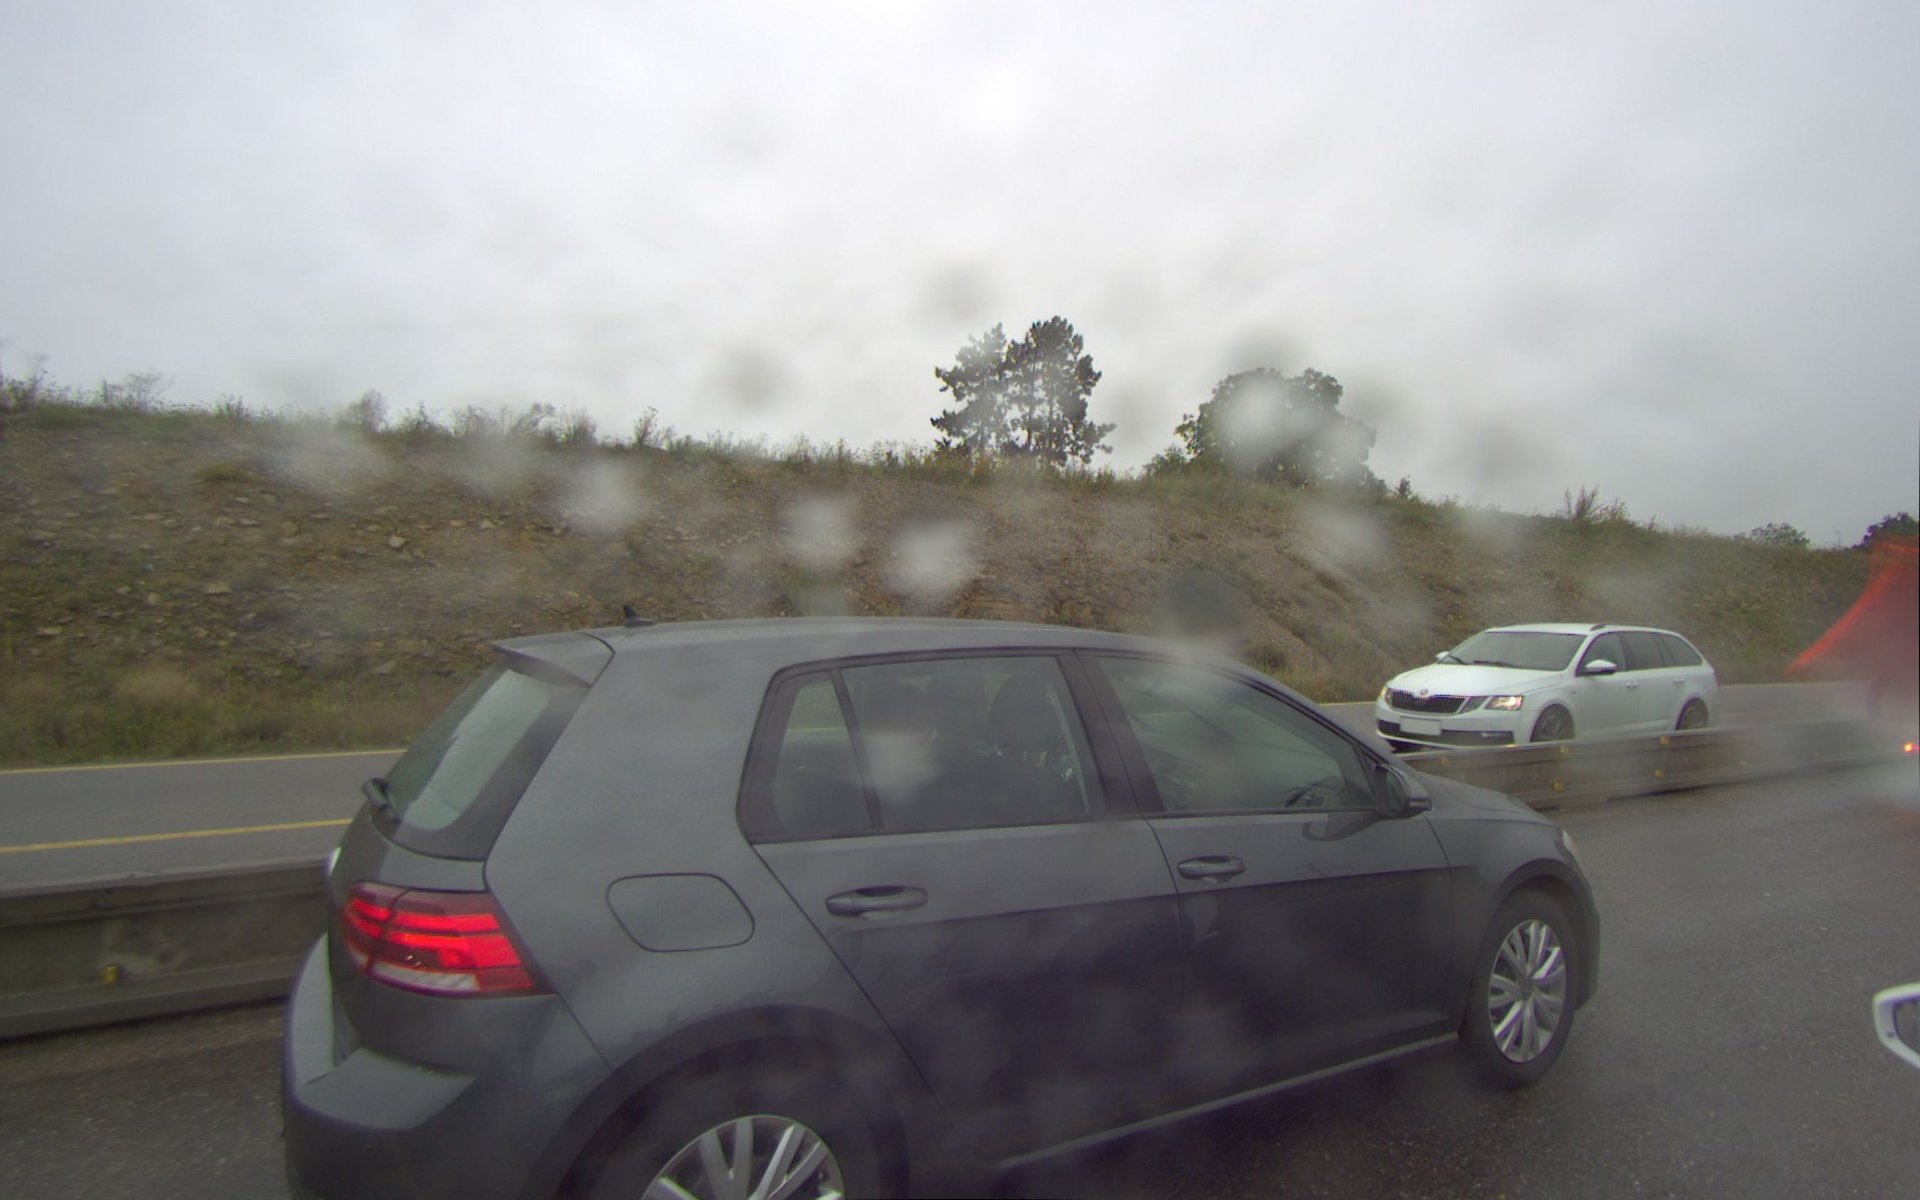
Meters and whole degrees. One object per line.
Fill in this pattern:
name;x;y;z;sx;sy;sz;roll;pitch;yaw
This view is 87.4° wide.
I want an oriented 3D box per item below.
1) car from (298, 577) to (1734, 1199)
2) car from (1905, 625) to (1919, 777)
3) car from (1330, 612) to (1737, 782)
car;0.525;0.786;3.226;4.317;1.526;1.607;1;-2;-30
car;11.456;1.037;10.159;3.733;1.496;1.820;1;-1;-31
car;6.341;0.923;10.995;4.494;1.480;1.859;1;1;-30
